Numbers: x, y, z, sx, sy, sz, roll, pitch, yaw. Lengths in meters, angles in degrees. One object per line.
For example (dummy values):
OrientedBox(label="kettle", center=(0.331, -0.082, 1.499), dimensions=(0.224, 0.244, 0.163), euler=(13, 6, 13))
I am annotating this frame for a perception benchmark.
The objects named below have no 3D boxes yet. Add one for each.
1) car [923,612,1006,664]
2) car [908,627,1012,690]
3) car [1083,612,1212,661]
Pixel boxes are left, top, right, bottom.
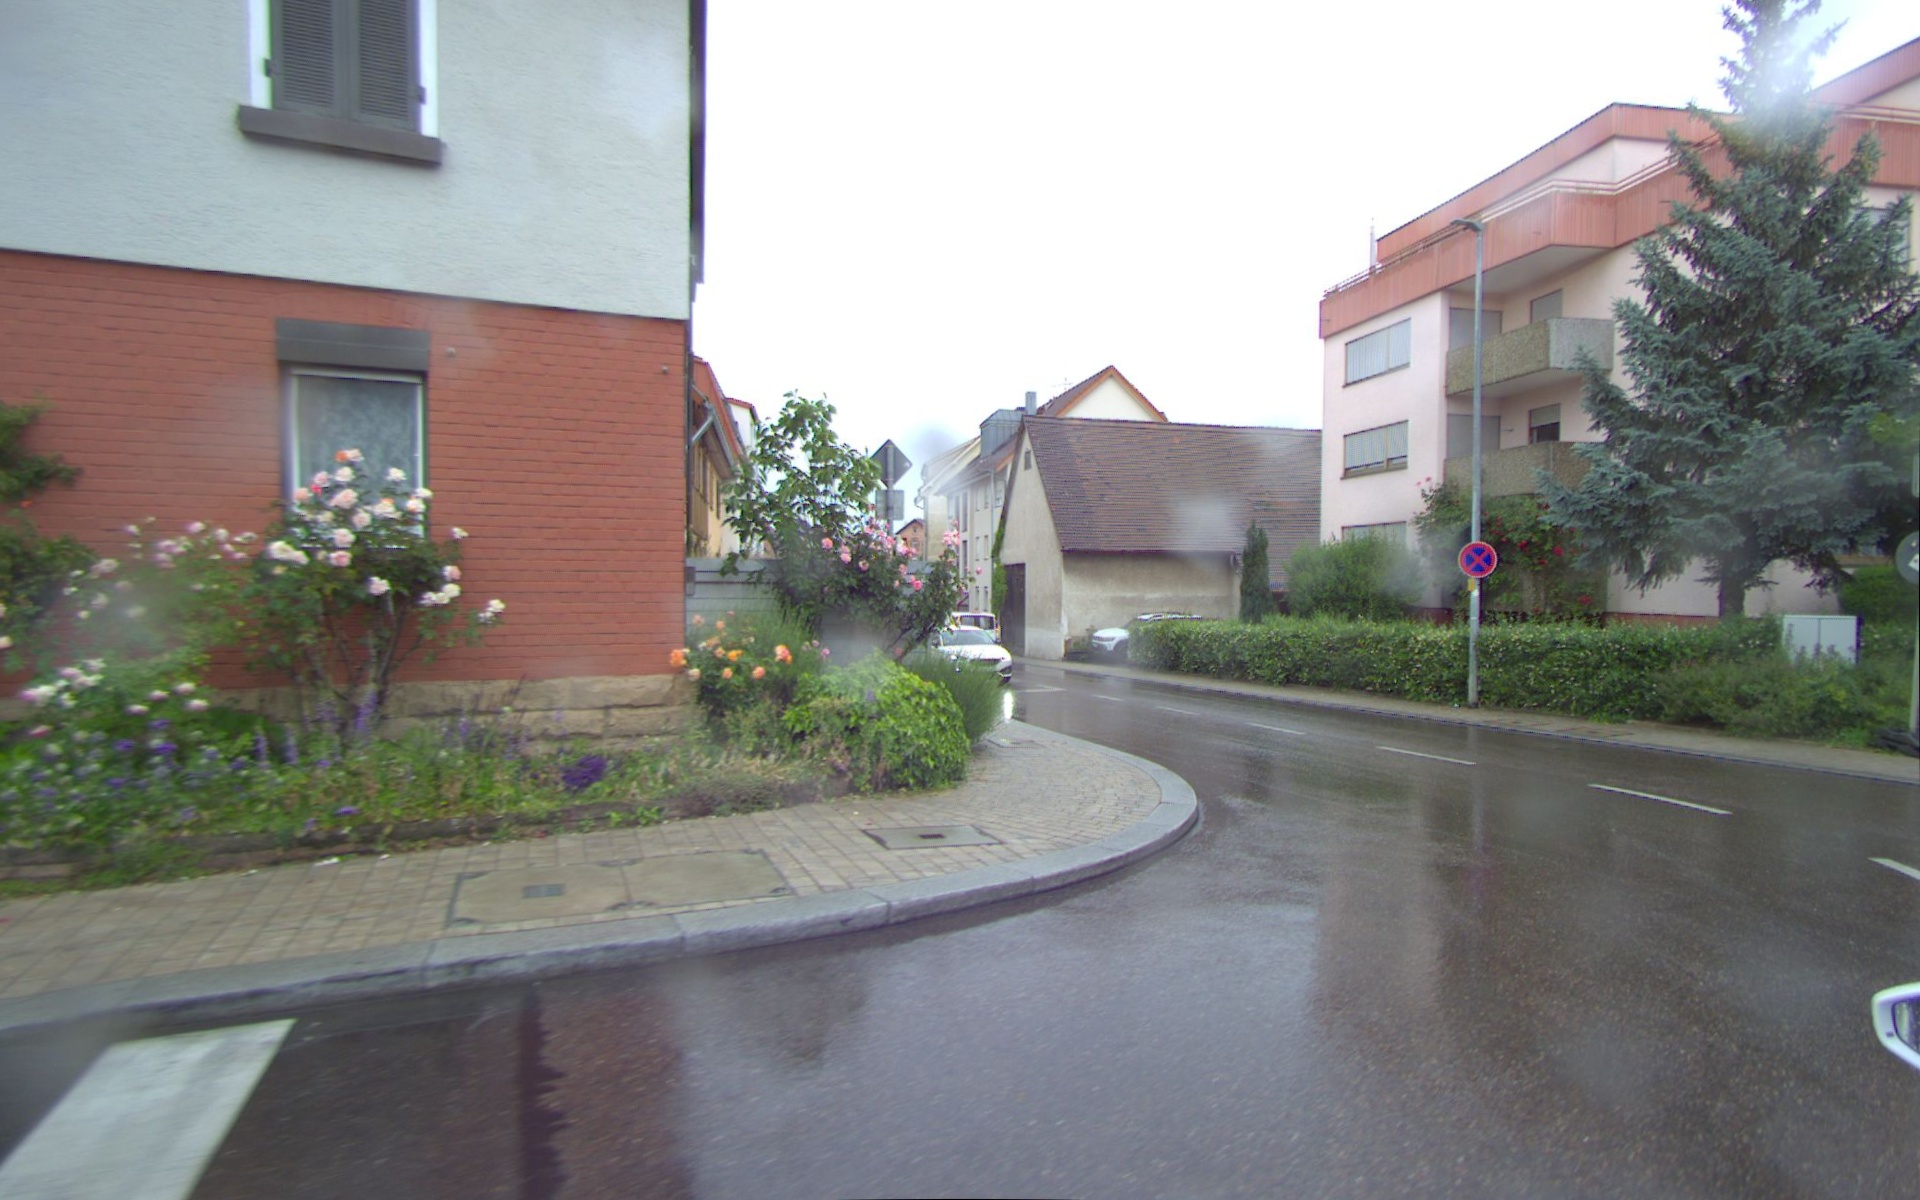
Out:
OrientedBox(label="car", center=(0.094, 1.415, 38.959), dimensions=(2.165, 1.876, 4.291), euler=(0, -1, -15))
OrientedBox(label="car", center=(-0.090, 1.487, 26.591), dimensions=(1.566, 1.427, 4.193), euler=(-1, 0, -17))
OrientedBox(label="car", center=(6.681, 1.266, 36.009), dimensions=(4.156, 1.671, 1.899), euler=(0, 0, -11))
